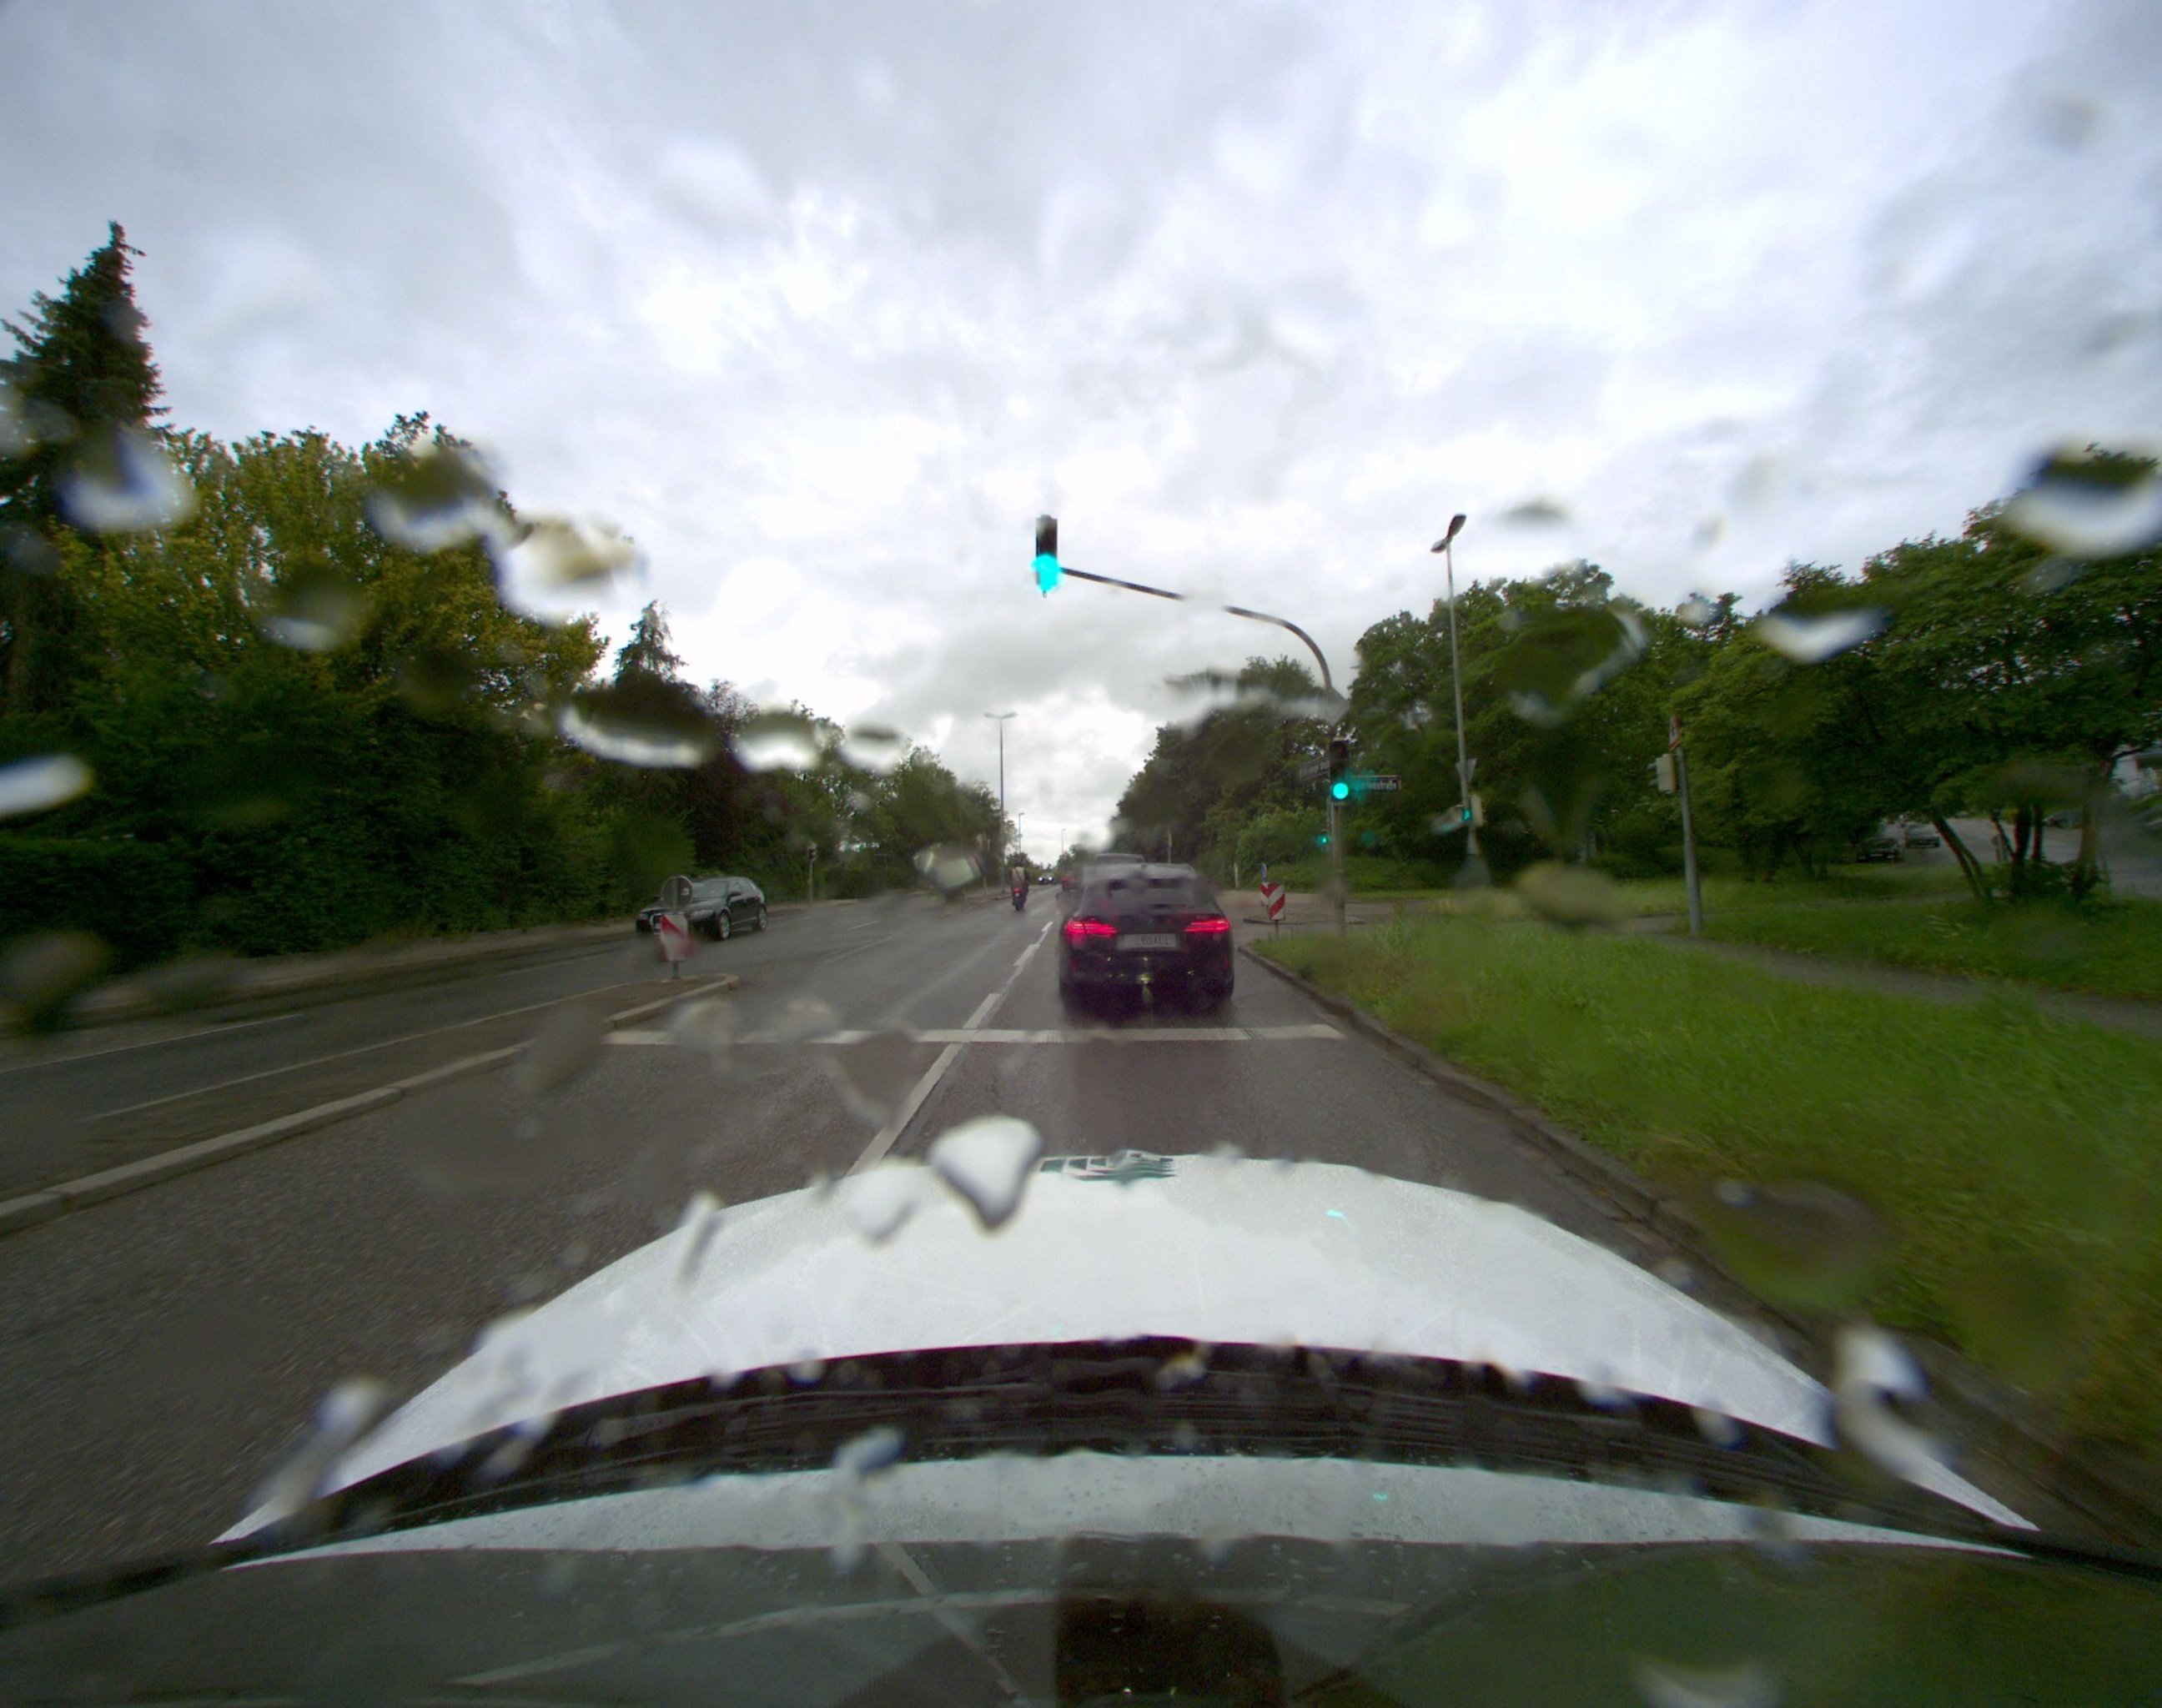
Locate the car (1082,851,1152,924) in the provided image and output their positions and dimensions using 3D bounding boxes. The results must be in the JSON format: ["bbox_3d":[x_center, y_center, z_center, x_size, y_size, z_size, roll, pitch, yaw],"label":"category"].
[{"bbox_3d":[0.980,0.854,22.406,1.760,1.810,3.907,0,0,2],"label":"car"}]

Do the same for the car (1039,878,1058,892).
[{"bbox_3d":[-4.066,3.866,102.412,2.018,1.563,3.877,-3,-2,1],"label":"car"}]

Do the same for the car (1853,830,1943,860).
[{"bbox_3d":[46.573,-0.508,46.432,3.994,1.571,1.819,-2,-1,-15],"label":"car"}]

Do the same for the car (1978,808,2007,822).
[{"bbox_3d":[115.881,-4.958,103.583,1.921,1.458,4.241,-1,-2,41],"label":"car"}]

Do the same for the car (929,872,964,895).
[{"bbox_3d":[-9.971,2.159,60.642,1.721,1.485,4.157,-3,-1,1],"label":"car"}]

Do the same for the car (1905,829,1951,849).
[{"bbox_3d":[66.378,-1.138,63.778,4.013,1.446,1.686,1,-1,-32],"label":"car"}]

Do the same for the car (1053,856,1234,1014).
[{"bbox_3d":[0.678,0.808,9.794,1.757,1.536,3.674,0,0,2],"label":"car"}]

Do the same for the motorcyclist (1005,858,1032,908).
[{"bbox_3d":[-2.092,0.977,27.458,0.842,1.647,0.468,-1,-1,1],"label":"motorcyclist"}]

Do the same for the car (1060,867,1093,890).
[{"bbox_3d":[-0.235,1.585,54.130,2.007,1.415,4.488,0,0,2],"label":"car"}]

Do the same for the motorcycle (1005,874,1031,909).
[{"bbox_3d":[-2.112,1.234,27.419,0.738,1.119,1.427,0,-1,2],"label":"motorcycle"}]

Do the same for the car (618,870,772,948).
[{"bbox_3d":[-8.657,1.163,18.658,1.859,1.492,3.828,-2,-1,-4],"label":"car"}]

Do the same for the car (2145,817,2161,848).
[{"bbox_3d":[60.111,-1.256,43.366,1.969,1.648,3.950,-1,-1,-44],"label":"car"}]
